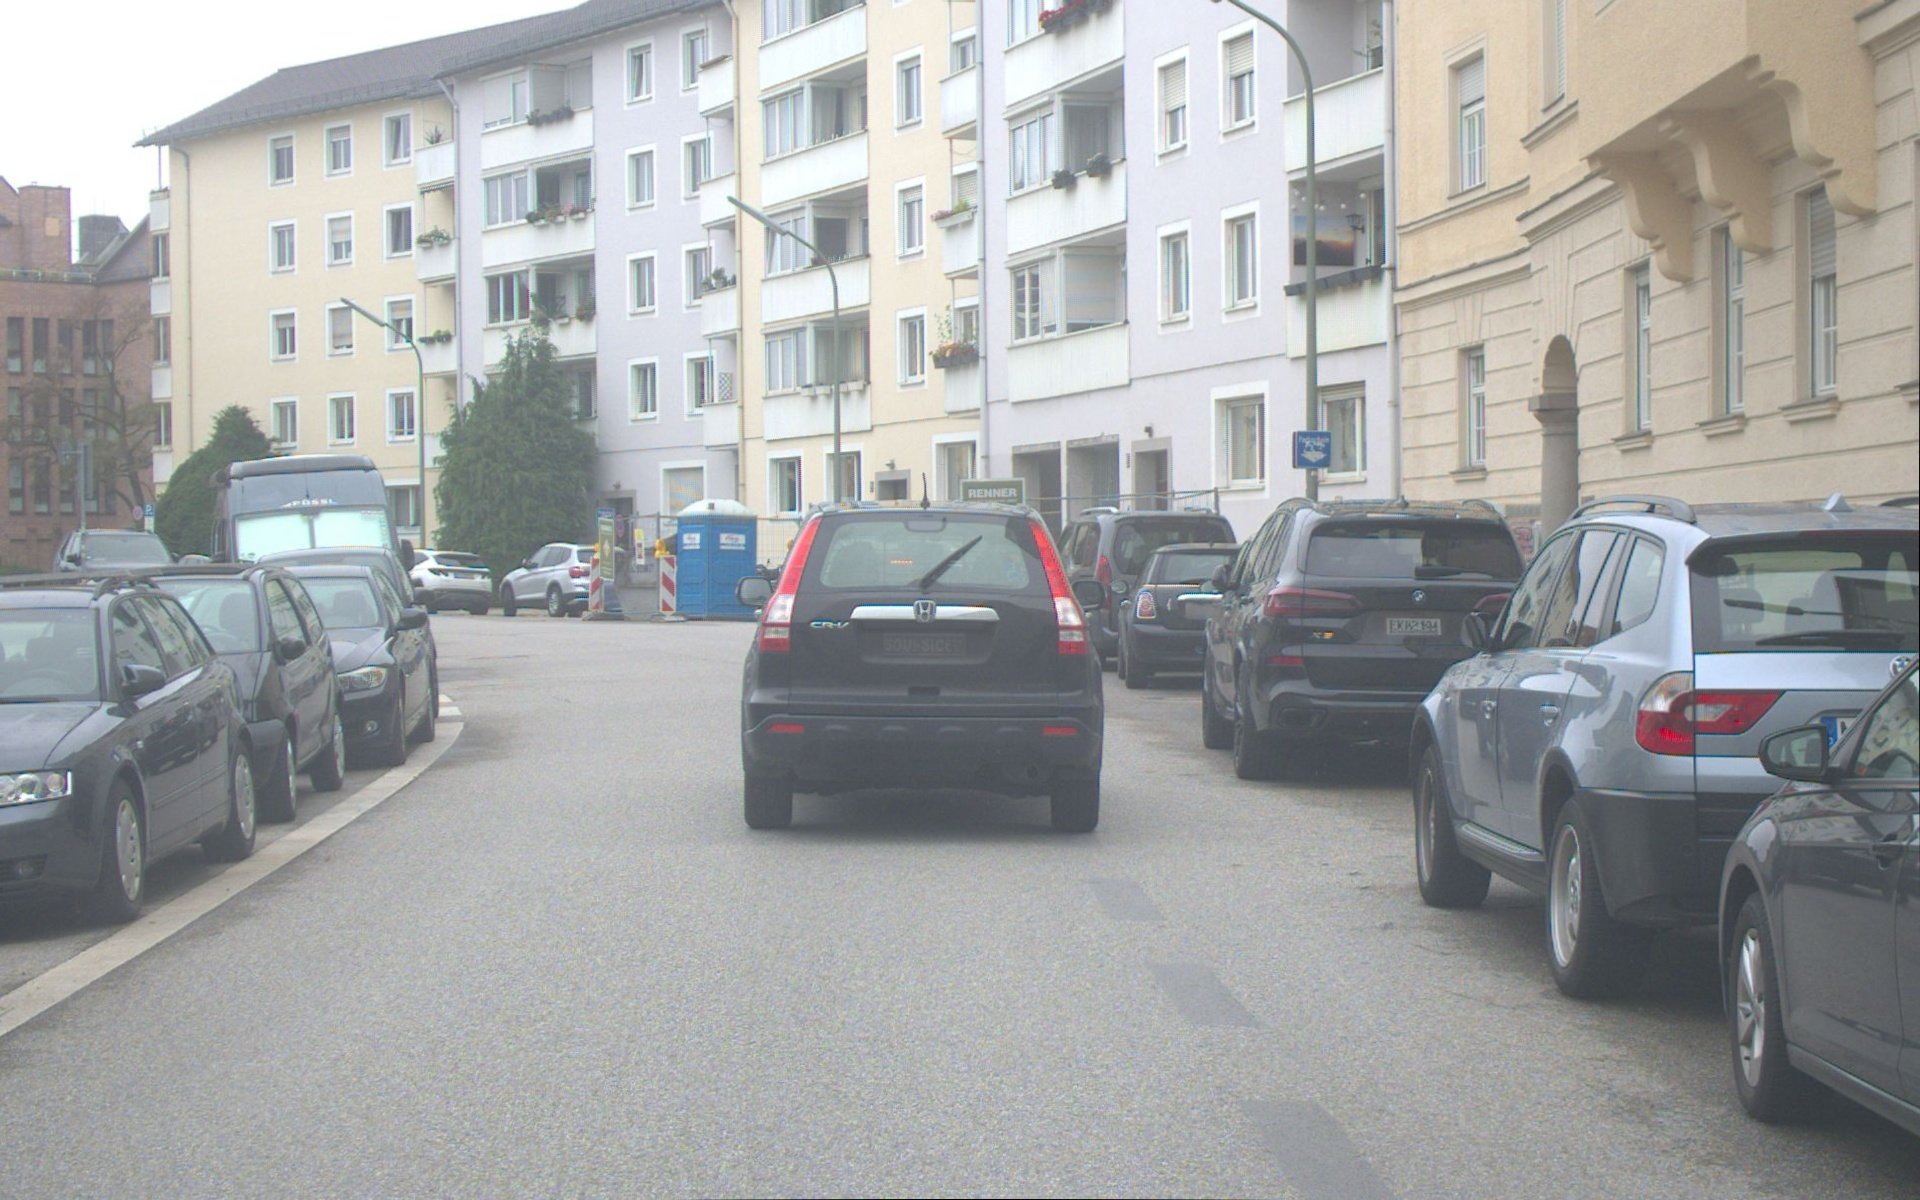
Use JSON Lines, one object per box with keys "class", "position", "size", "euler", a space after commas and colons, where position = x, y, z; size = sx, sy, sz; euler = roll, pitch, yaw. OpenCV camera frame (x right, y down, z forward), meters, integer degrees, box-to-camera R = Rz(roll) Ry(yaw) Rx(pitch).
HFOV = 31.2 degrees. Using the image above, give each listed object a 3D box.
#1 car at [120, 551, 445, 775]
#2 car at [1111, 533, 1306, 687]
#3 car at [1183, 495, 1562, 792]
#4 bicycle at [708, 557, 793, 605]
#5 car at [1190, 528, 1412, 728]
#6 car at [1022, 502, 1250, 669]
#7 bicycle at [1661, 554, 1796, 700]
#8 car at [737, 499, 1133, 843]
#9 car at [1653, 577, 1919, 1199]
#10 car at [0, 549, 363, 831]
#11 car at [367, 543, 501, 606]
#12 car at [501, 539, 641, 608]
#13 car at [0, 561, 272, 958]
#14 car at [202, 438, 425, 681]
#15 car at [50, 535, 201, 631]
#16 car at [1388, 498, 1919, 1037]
{"class": "car", "position": [-4.809, 0.385, 24.959], "size": [1.799, 1.401, 4.456], "euler": [-2, 1, -5]}
{"class": "car", "position": [2.463, 0.068, 34.814], "size": [1.708, 1.442, 3.830], "euler": [1, 1, 1]}
{"class": "car", "position": [2.586, 0.222, 22.669], "size": [1.869, 1.711, 4.866], "euler": [1, 1, 0]}
{"class": "bicycle", "position": [-4.837, -0.440, 79.279], "size": [1.865, 1.087, 0.566], "euler": [0, 1, -22]}
{"class": "car", "position": [2.757, 0.196, 28.275], "size": [1.535, 1.518, 3.110], "euler": [1, 1, 1]}
{"class": "car", "position": [1.972, -0.194, 39.837], "size": [1.777, 1.800, 4.277], "euler": [1, 1, -9]}
{"class": "bicycle", "position": [6.126, 0.192, 27.483], "size": [0.579, 1.079, 1.953], "euler": [-3, 1, 0]}
{"class": "car", "position": [-0.246, 0.308, 18.434], "size": [1.890, 1.642, 3.992], "euler": [0, 1, -4]}
{"class": "car", "position": [2.831, 0.676, 7.675], "size": [1.679, 1.422, 4.087], "euler": [0, 1, -1]}
{"class": "car", "position": [-4.548, 0.462, 20.129], "size": [1.656, 1.448, 3.313], "euler": [-2, 1, -3]}
{"class": "car", "position": [-13.057, -0.647, 85.160], "size": [1.724, 1.478, 4.000], "euler": [0, 1, -34]}
{"class": "car", "position": [-8.660, -0.607, 76.367], "size": [1.724, 1.478, 4.001], "euler": [0, 1, -28]}
{"class": "car", "position": [-4.276, 0.599, 15.073], "size": [1.755, 1.448, 4.396], "euler": [-2, 1, -2]}
{"class": "car", "position": [-7.812, -0.515, 41.076], "size": [2.163, 2.632, 6.019], "euler": [-2, 2, -14]}
{"class": "car", "position": [-15.356, -0.333, 63.118], "size": [1.679, 1.701, 4.514], "euler": [0, 1, -27]}
{"class": "car", "position": [2.745, 0.473, 12.623], "size": [1.722, 1.628, 4.458], "euler": [0, 1, -1]}
